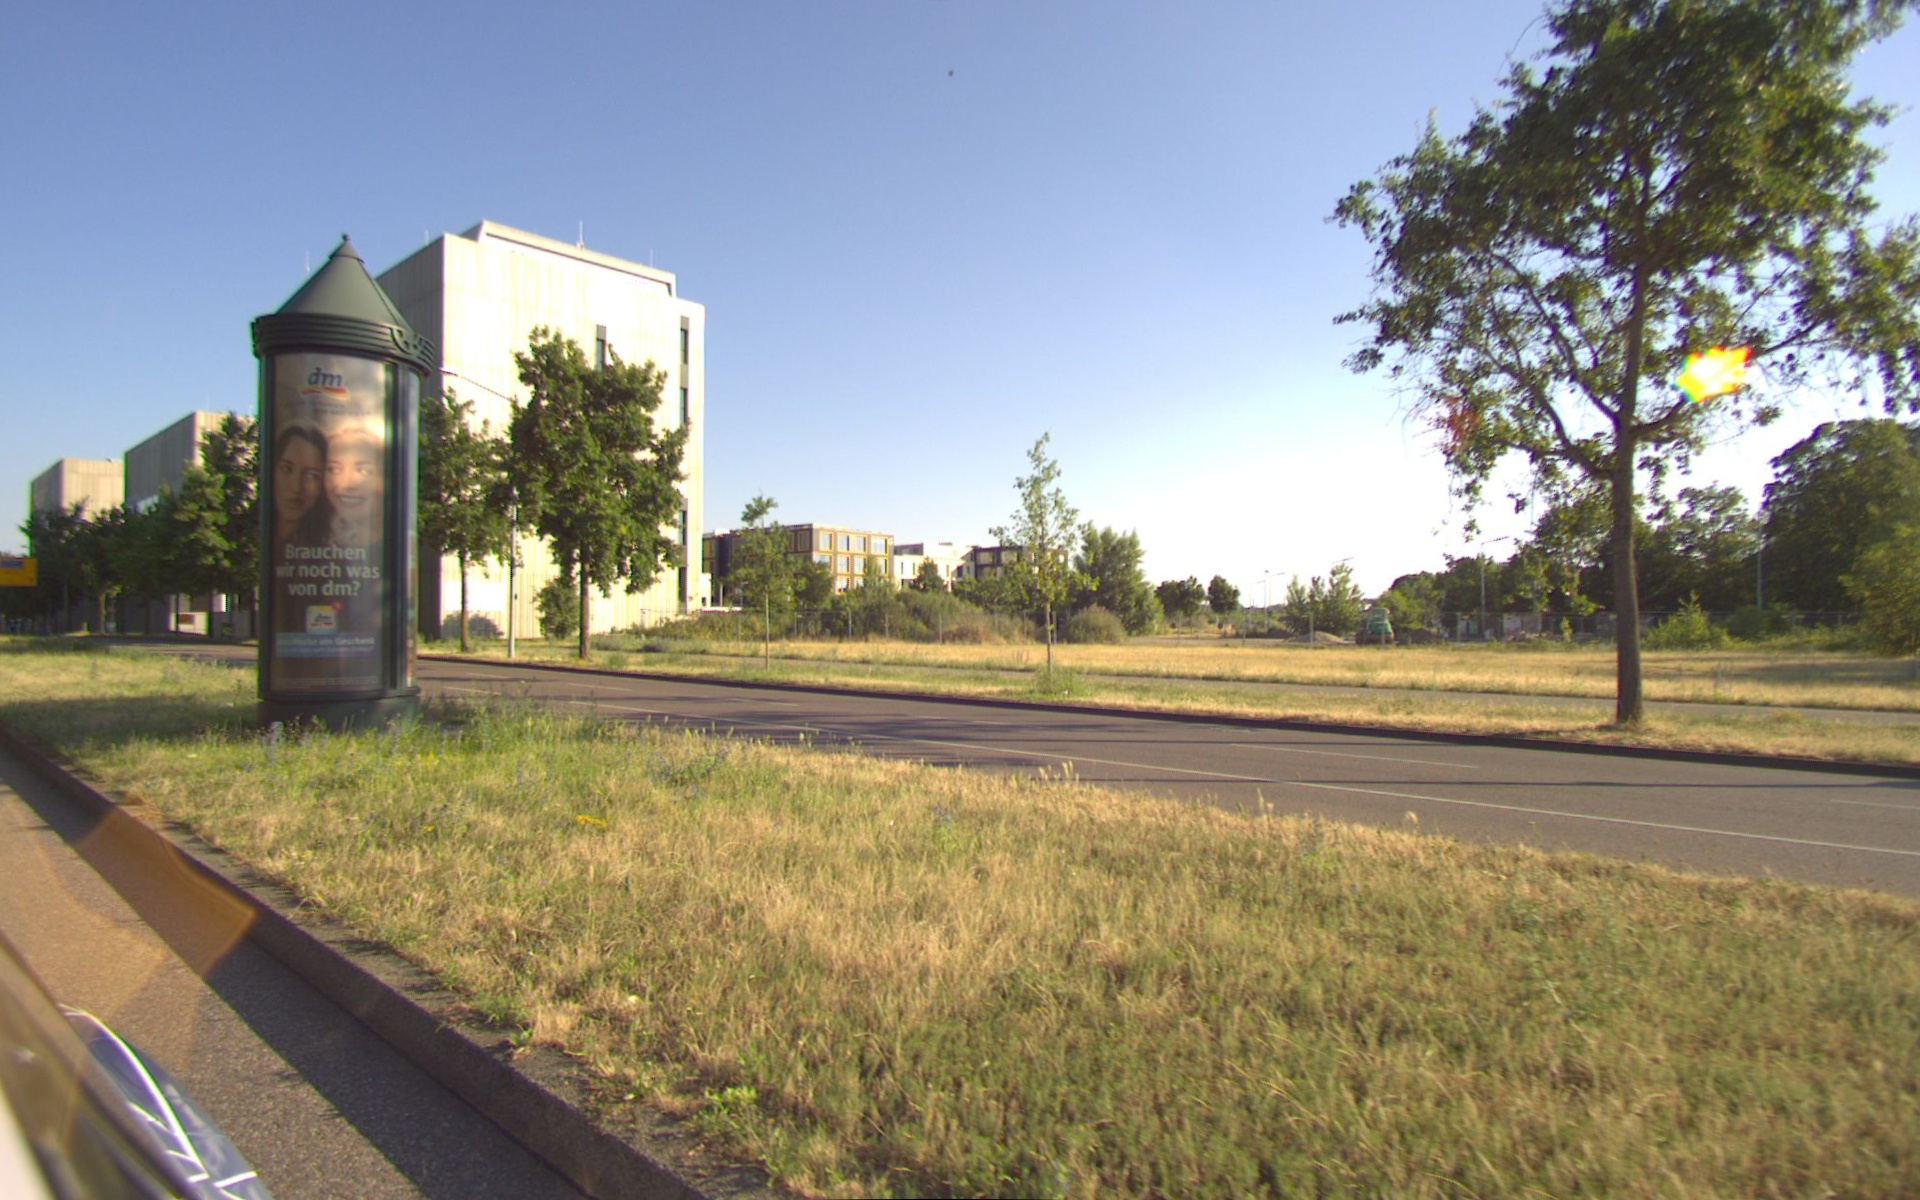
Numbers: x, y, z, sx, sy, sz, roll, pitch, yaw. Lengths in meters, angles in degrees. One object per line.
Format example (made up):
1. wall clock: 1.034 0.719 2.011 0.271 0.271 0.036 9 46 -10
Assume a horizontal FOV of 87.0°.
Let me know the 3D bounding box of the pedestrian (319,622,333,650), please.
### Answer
1. pedestrian: -42.263 2.422 67.504 0.716 1.855 0.626 -2 -2 43

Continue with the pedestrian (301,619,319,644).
1. pedestrian: -43.165 2.088 67.194 0.909 1.614 0.767 -2 -2 43

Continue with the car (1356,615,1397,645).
1. car: 29.144 2.109 70.908 1.980 2.029 3.864 0 -2 13
